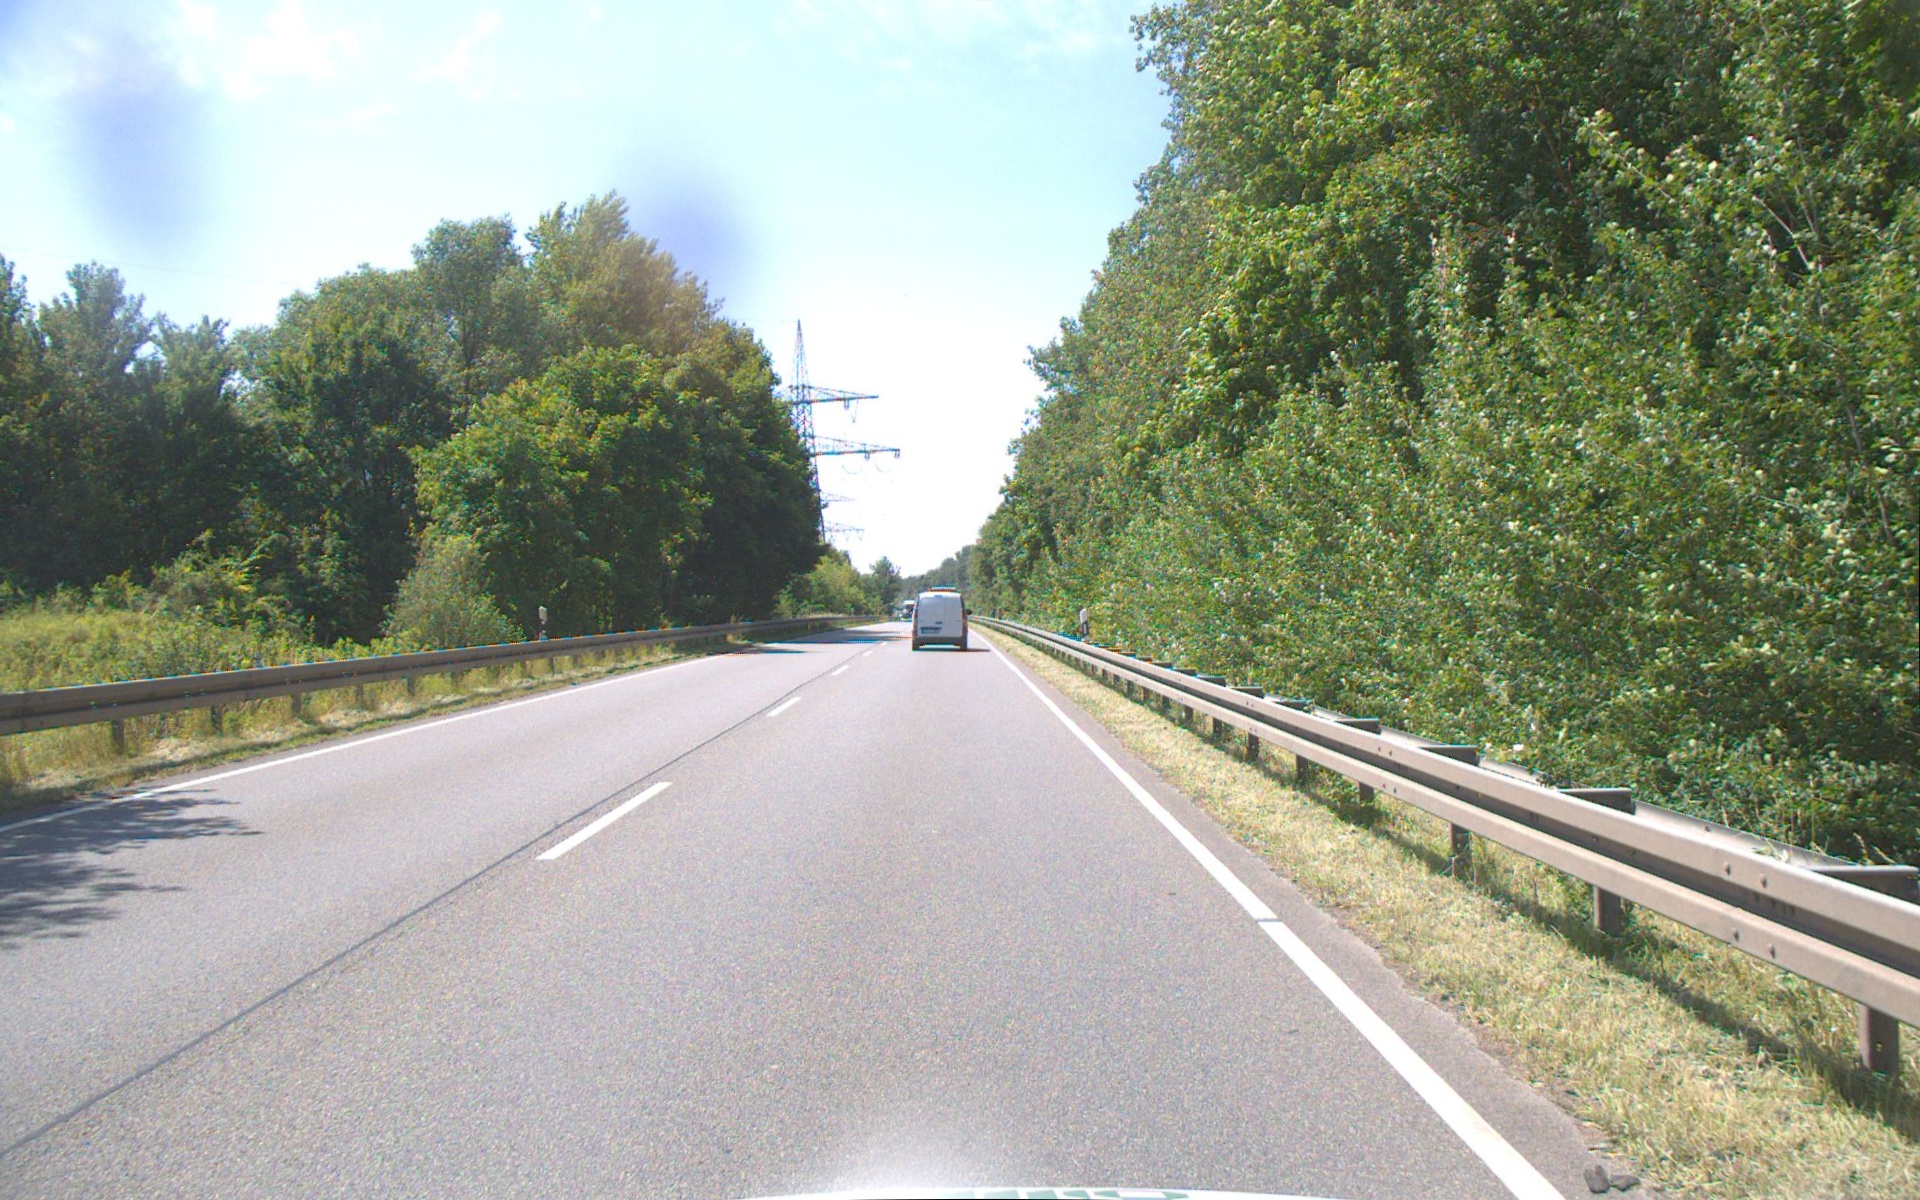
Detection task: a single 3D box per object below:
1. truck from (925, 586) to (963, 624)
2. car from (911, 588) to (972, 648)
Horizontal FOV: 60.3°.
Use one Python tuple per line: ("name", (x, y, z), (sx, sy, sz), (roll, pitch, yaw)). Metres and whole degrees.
("truck", (-1.491, 0.365, 149.286), (3.229, 3.227, 14.402), (1, 0, -1))
("car", (-0.585, 0.531, 51.965), (1.837, 1.772, 3.999), (1, 0, -1))
